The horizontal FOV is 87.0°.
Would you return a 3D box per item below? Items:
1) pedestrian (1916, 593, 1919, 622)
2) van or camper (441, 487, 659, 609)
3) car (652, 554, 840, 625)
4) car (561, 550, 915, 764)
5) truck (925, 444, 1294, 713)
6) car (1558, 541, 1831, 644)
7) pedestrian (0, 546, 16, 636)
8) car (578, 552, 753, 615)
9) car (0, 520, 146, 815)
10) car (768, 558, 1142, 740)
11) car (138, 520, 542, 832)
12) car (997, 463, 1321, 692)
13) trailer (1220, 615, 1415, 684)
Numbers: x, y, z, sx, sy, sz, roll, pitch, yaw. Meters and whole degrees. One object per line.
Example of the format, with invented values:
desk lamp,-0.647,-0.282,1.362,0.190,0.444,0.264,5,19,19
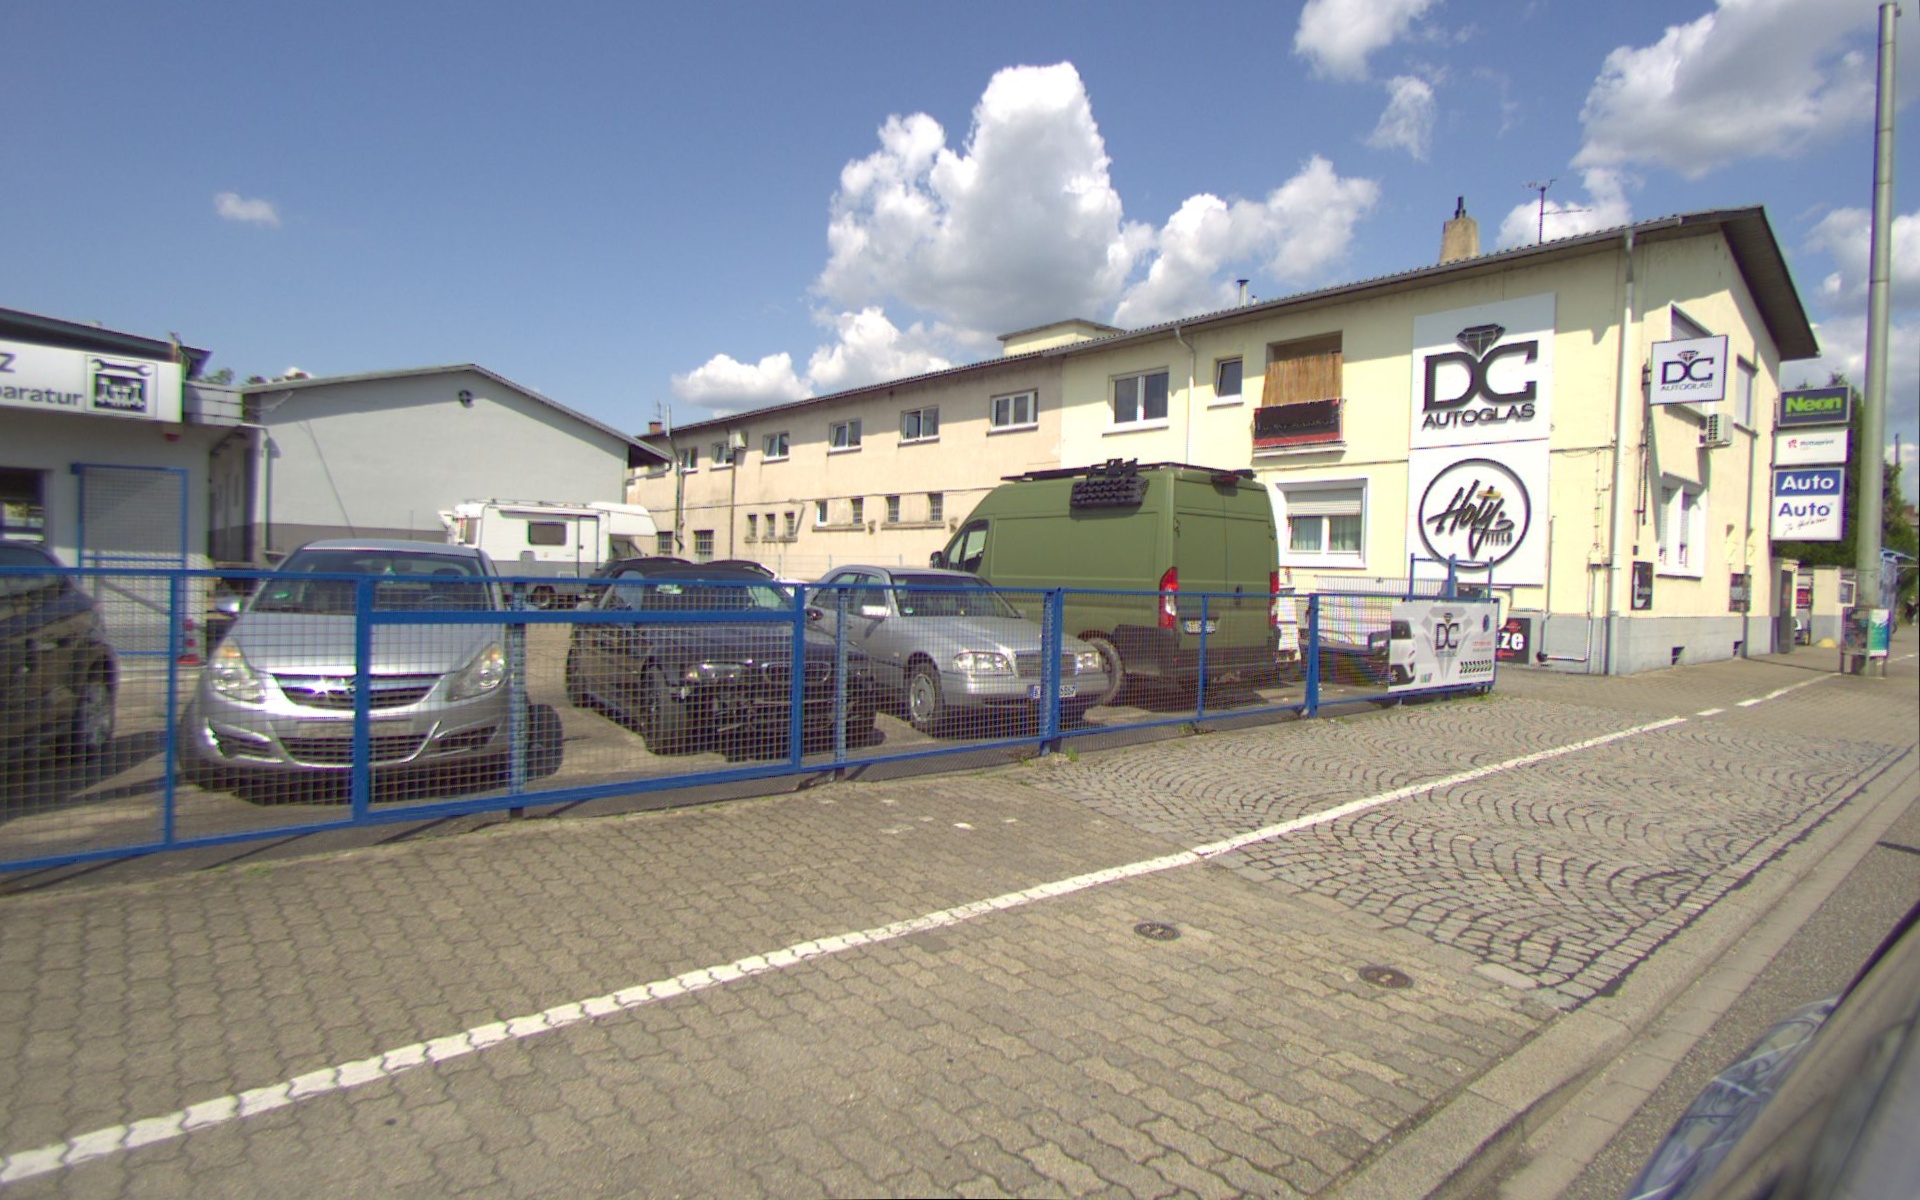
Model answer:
pedestrian,54.484,0.450,56.966,0.902,1.606,0.816,1,1,-41
van or camper,-11.002,-1.325,27.368,4.971,2.999,2.284,0,2,-42
car,-4.921,-0.248,23.518,3.939,1.497,1.719,0,2,-41
car,-2.120,0.307,8.745,1.768,1.403,3.837,1,2,-32
truck,1.628,-0.288,12.144,2.033,2.639,3.996,1,2,-40
car,21.131,-0.327,29.459,1.963,2.404,5.989,1,5,-38
pedestrian,-13.254,-0.130,13.840,0.479,1.228,0.501,1,1,-42
car,-7.473,-0.412,25.889,3.939,1.497,1.719,0,2,-41
car,-5.743,0.321,5.033,1.685,1.497,4.012,1,2,-25
car,-0.292,0.317,10.204,1.768,1.413,4.216,1,2,-33
car,-3.946,0.299,7.101,1.766,1.497,4.158,1,2,-24
car,2.617,-0.348,14.141,1.771,2.702,4.208,1,2,-40
trailer,5.087,0.667,14.527,1.245,0.776,2.330,0,2,-39
